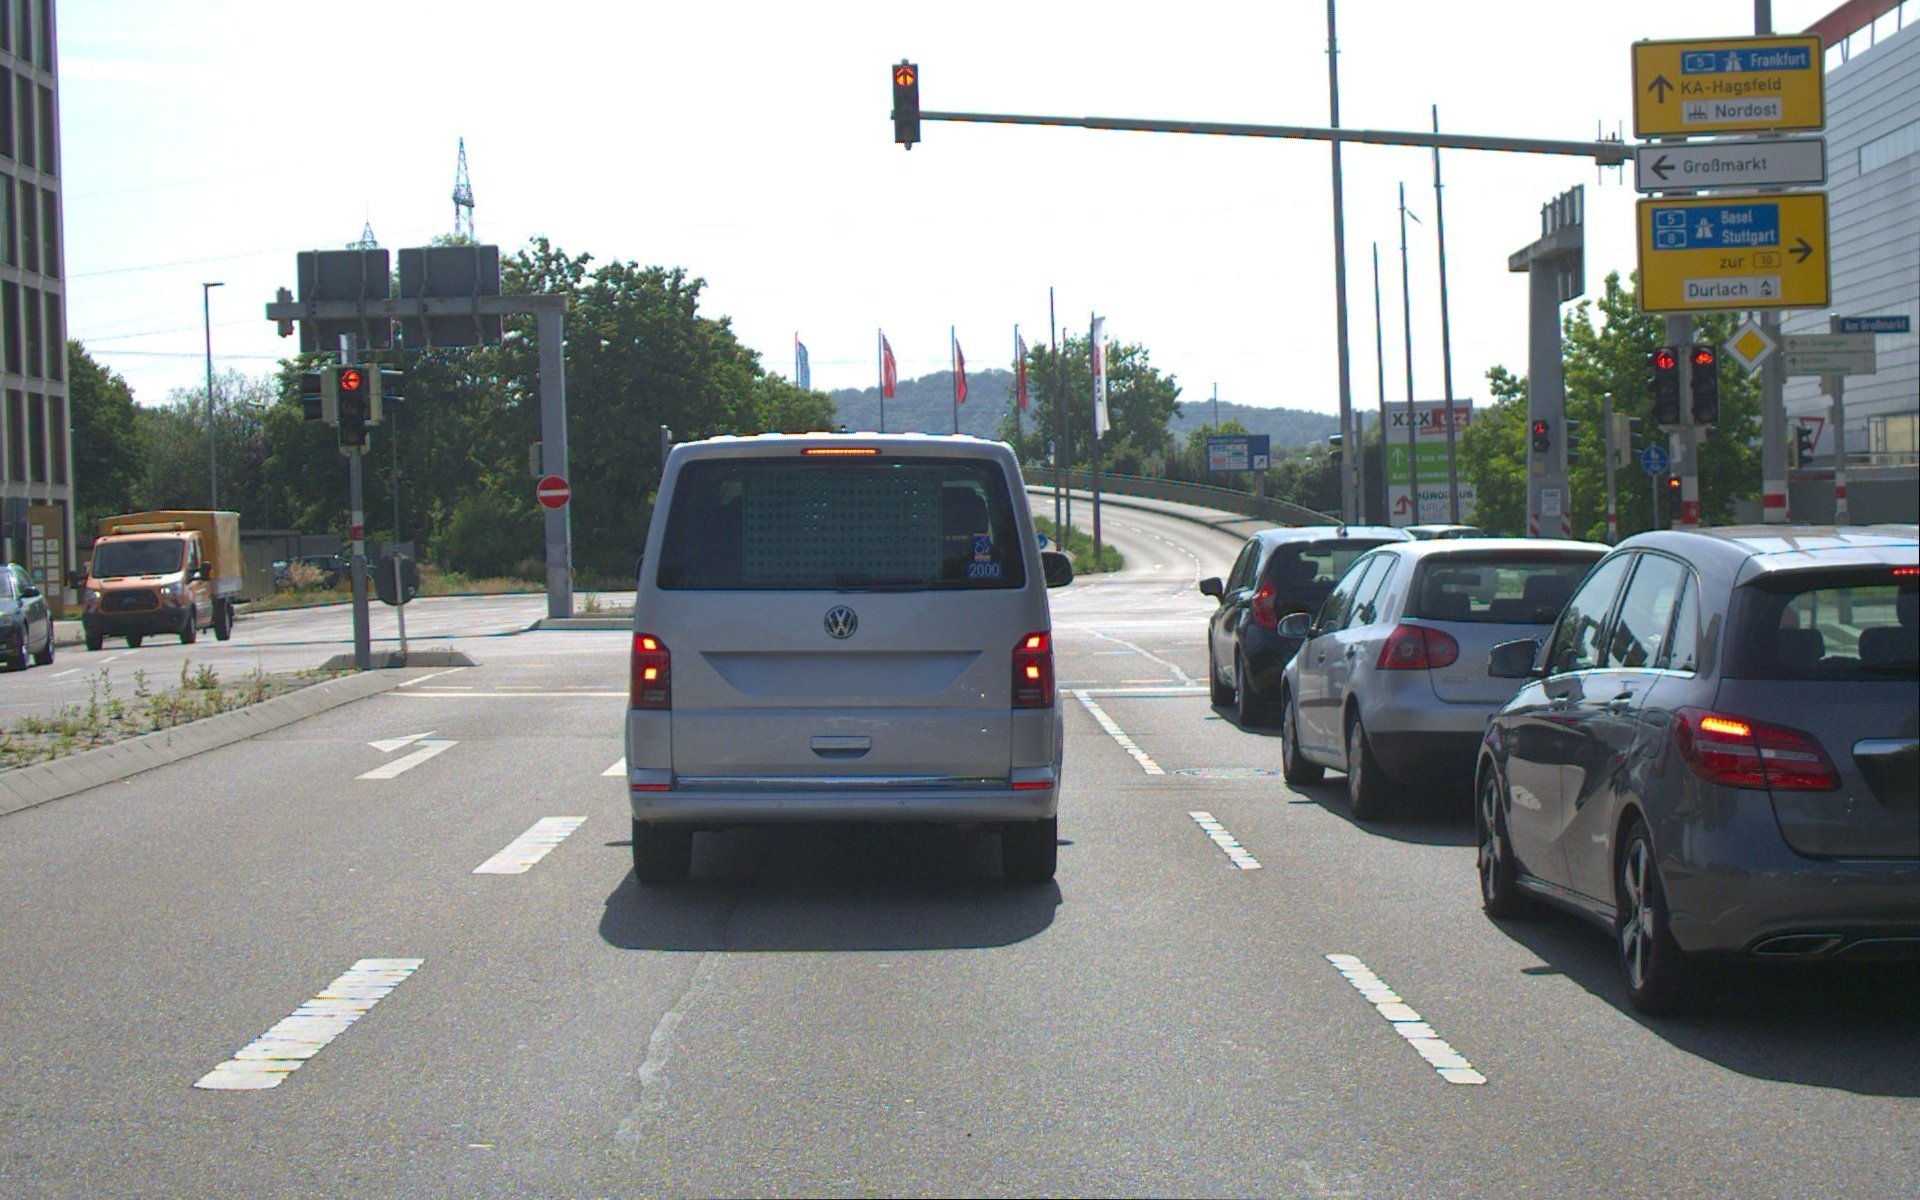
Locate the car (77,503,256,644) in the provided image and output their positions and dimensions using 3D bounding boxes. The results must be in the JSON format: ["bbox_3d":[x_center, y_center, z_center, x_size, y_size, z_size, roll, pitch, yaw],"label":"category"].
[{"bbox_3d":[-15.446,-0.556,67.323,2.405,2.552,6.897,-2,1,-5],"label":"car"}]

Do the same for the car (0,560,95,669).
[{"bbox_3d":[-13.294,0.190,47.838,1.576,1.404,4.380,-2,1,-3],"label":"car"}]

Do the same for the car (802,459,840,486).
[{"bbox_3d":[-10.613,-9.719,261.753,1.993,2.007,4.001,-1,1,-16],"label":"car"}]

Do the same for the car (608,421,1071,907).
[{"bbox_3d":[-0.520,0.223,16.096,1.884,1.983,4.000,0,1,-1],"label":"car"}]

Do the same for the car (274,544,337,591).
[{"bbox_3d":[-28.301,-1.427,148.823,1.993,2.007,4.000,0,1,-1],"label":"car"}]

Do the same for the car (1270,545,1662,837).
[{"bbox_3d":[2.734,0.429,19.288,1.578,1.453,3.786,0,1,-1],"label":"car"}]

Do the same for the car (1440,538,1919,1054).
[{"bbox_3d":[2.901,0.544,12.225,1.746,1.511,4.078,0,1,-1],"label":"car"}]

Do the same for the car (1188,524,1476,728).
[{"bbox_3d":[2.929,0.151,27.822,1.836,1.521,4.000,0,1,-1],"label":"car"}]
